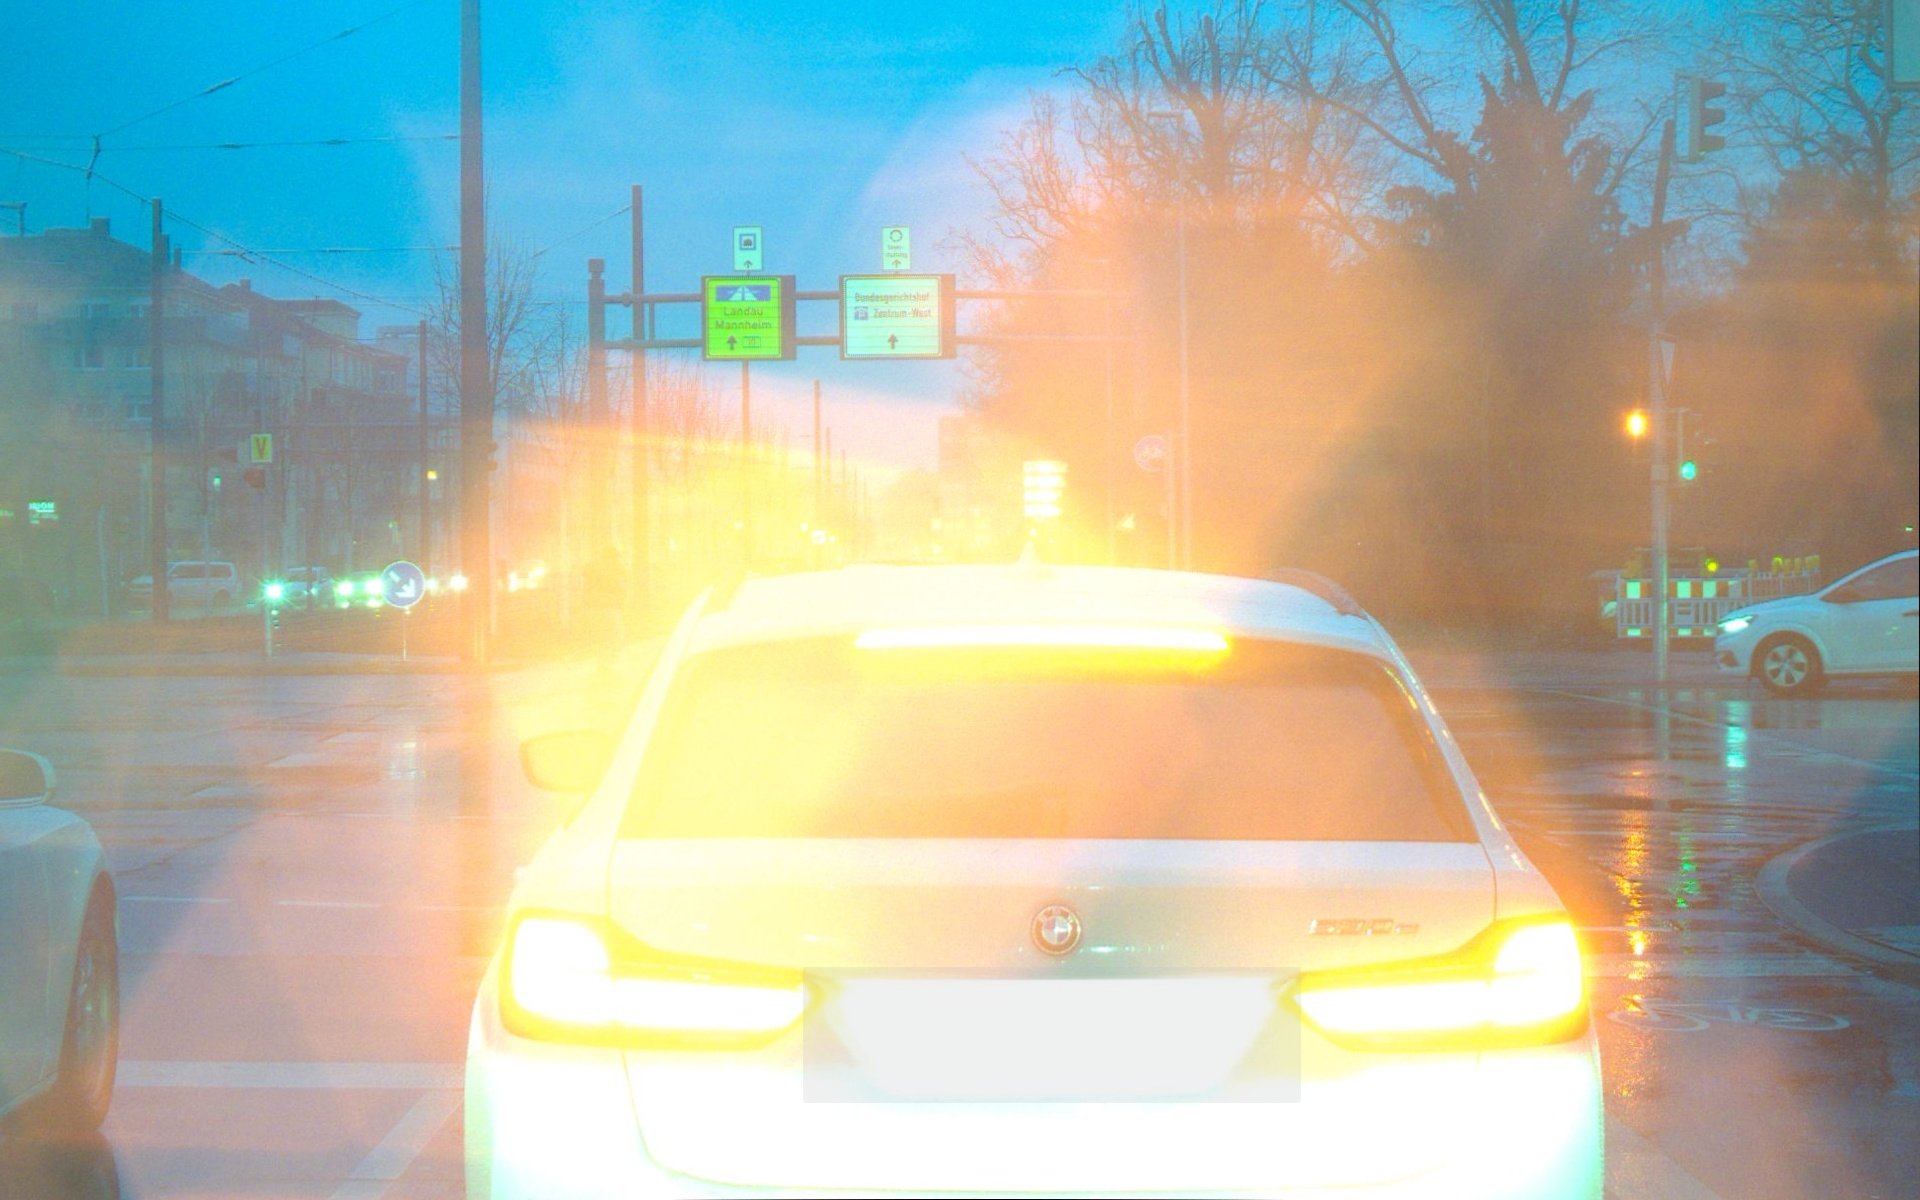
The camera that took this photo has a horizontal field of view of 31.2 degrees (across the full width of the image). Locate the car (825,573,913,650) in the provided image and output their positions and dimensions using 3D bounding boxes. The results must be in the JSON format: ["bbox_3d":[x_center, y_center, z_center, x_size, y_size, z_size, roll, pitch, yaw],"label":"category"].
[{"bbox_3d":[-1.983,0.249,75.093,1.843,1.603,3.945,1,0,-2],"label":"car"}]

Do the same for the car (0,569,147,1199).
[{"bbox_3d":[-3.093,0.678,7.045,1.993,1.451,4.369,0,1,-2],"label":"car"}]

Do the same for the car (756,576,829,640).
[{"bbox_3d":[-4.396,0.213,90.681,1.843,1.603,3.945,1,0,-2],"label":"car"}]

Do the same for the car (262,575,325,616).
[{"bbox_3d":[-24.960,-0.172,128.840,1.675,1.502,3.696,1,0,-1],"label":"car"}]

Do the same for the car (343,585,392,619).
[{"bbox_3d":[-27.562,0.088,159.930,1.675,1.502,3.696,1,0,-1],"label":"car"}]

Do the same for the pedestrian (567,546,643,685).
[{"bbox_3d":[-4.815,0.205,46.628,0.902,1.850,0.812,1,0,-13],"label":"pedestrian"}]

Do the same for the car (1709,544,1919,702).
[{"bbox_3d":[9.843,0.252,35.356,3.959,1.548,1.747,1,0,20],"label":"car"}]

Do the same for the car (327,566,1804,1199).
[{"bbox_3d":[0.053,0.681,6.827,1.993,1.451,4.369,0,1,-2],"label":"car"}]
